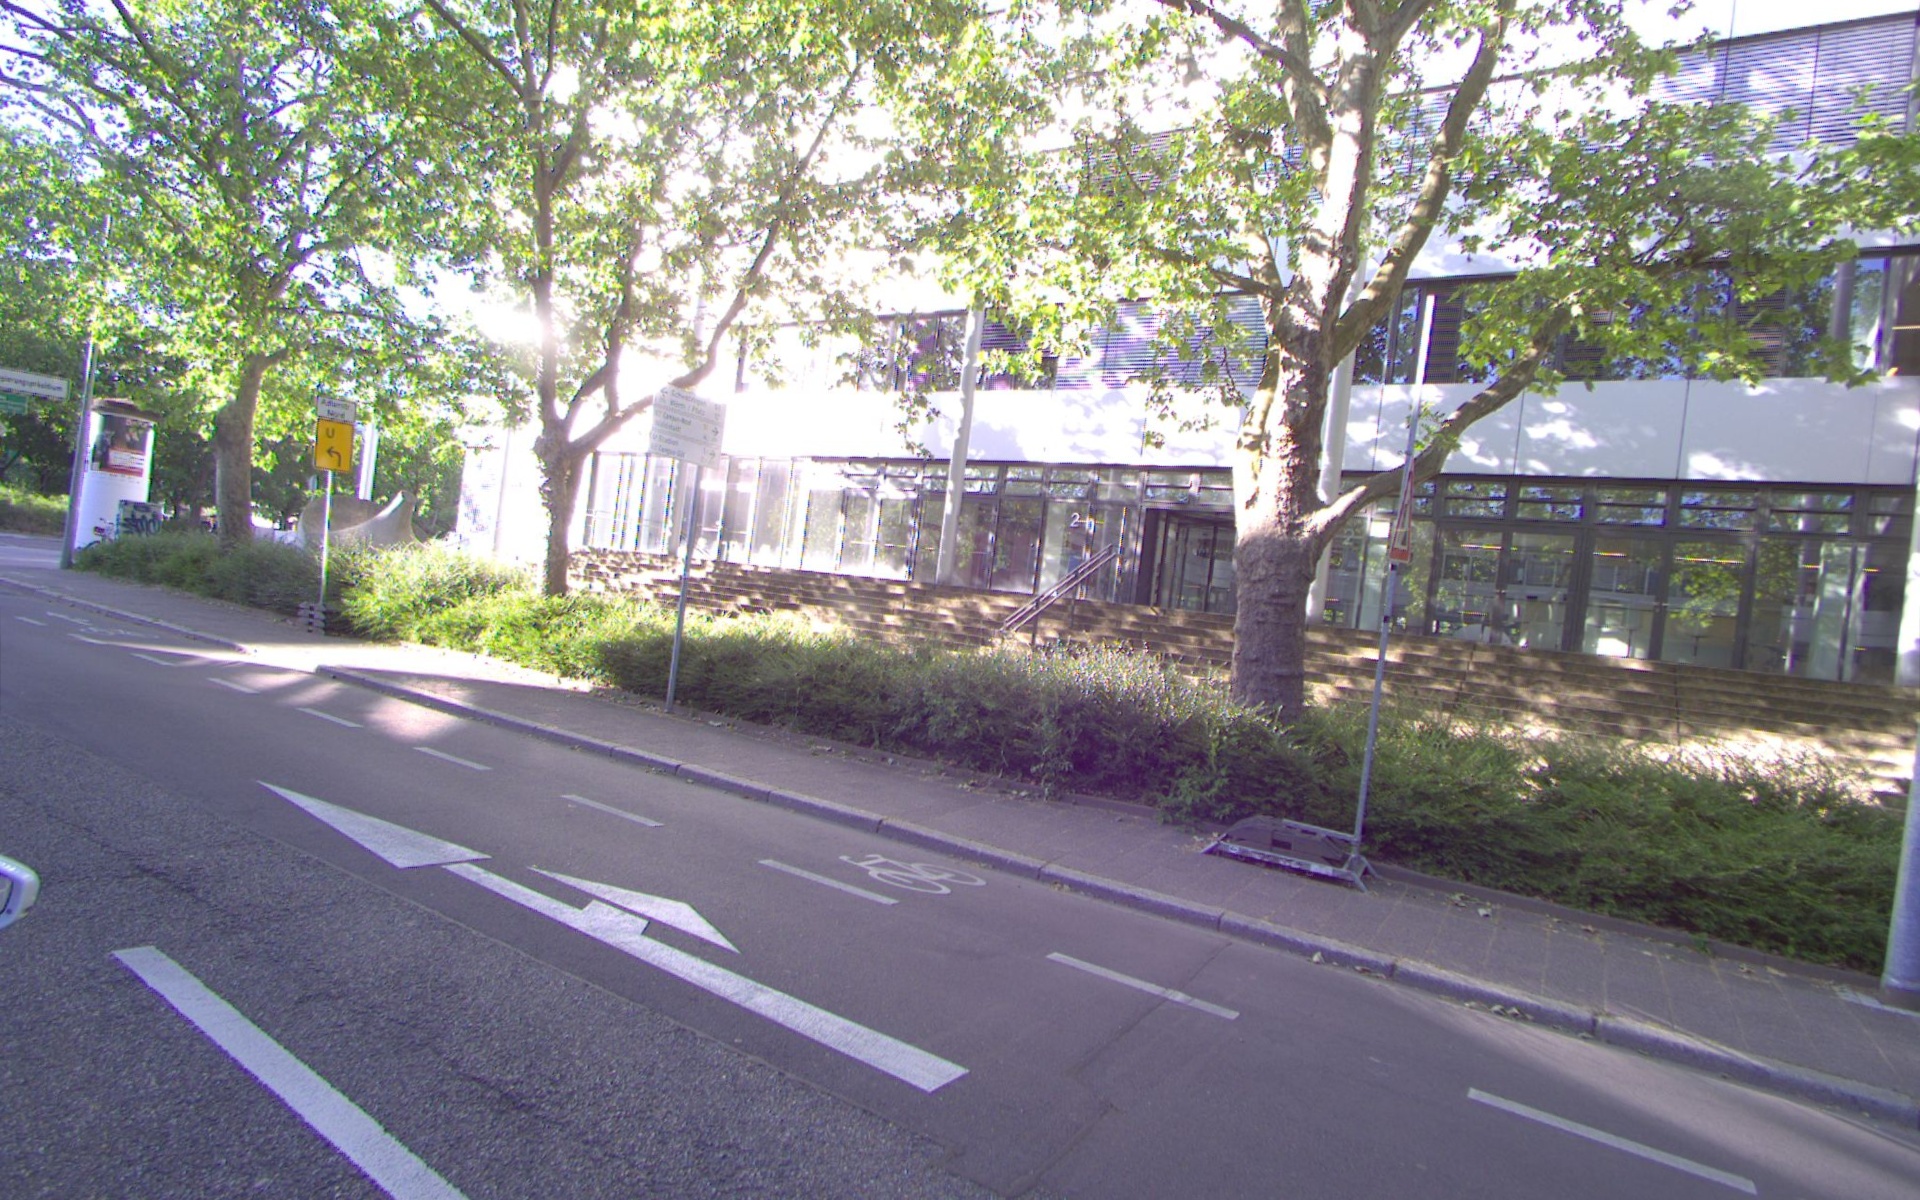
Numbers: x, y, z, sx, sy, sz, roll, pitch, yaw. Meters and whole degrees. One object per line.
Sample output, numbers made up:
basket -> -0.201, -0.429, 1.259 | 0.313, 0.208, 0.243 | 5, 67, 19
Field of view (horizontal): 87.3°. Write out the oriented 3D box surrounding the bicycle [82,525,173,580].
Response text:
bicycle -> -19.087, -1.084, 23.094 | 0.529, 1.049, 1.418 | 7, -1, 28

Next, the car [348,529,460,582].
car -> -25.917, -2.048, 47.033 | 1.969, 1.805, 3.998 | 7, -1, 37

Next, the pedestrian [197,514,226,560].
pedestrian -> -31.218, -2.607, 41.972 | 0.620, 1.805, 0.620 | 7, 0, 34
